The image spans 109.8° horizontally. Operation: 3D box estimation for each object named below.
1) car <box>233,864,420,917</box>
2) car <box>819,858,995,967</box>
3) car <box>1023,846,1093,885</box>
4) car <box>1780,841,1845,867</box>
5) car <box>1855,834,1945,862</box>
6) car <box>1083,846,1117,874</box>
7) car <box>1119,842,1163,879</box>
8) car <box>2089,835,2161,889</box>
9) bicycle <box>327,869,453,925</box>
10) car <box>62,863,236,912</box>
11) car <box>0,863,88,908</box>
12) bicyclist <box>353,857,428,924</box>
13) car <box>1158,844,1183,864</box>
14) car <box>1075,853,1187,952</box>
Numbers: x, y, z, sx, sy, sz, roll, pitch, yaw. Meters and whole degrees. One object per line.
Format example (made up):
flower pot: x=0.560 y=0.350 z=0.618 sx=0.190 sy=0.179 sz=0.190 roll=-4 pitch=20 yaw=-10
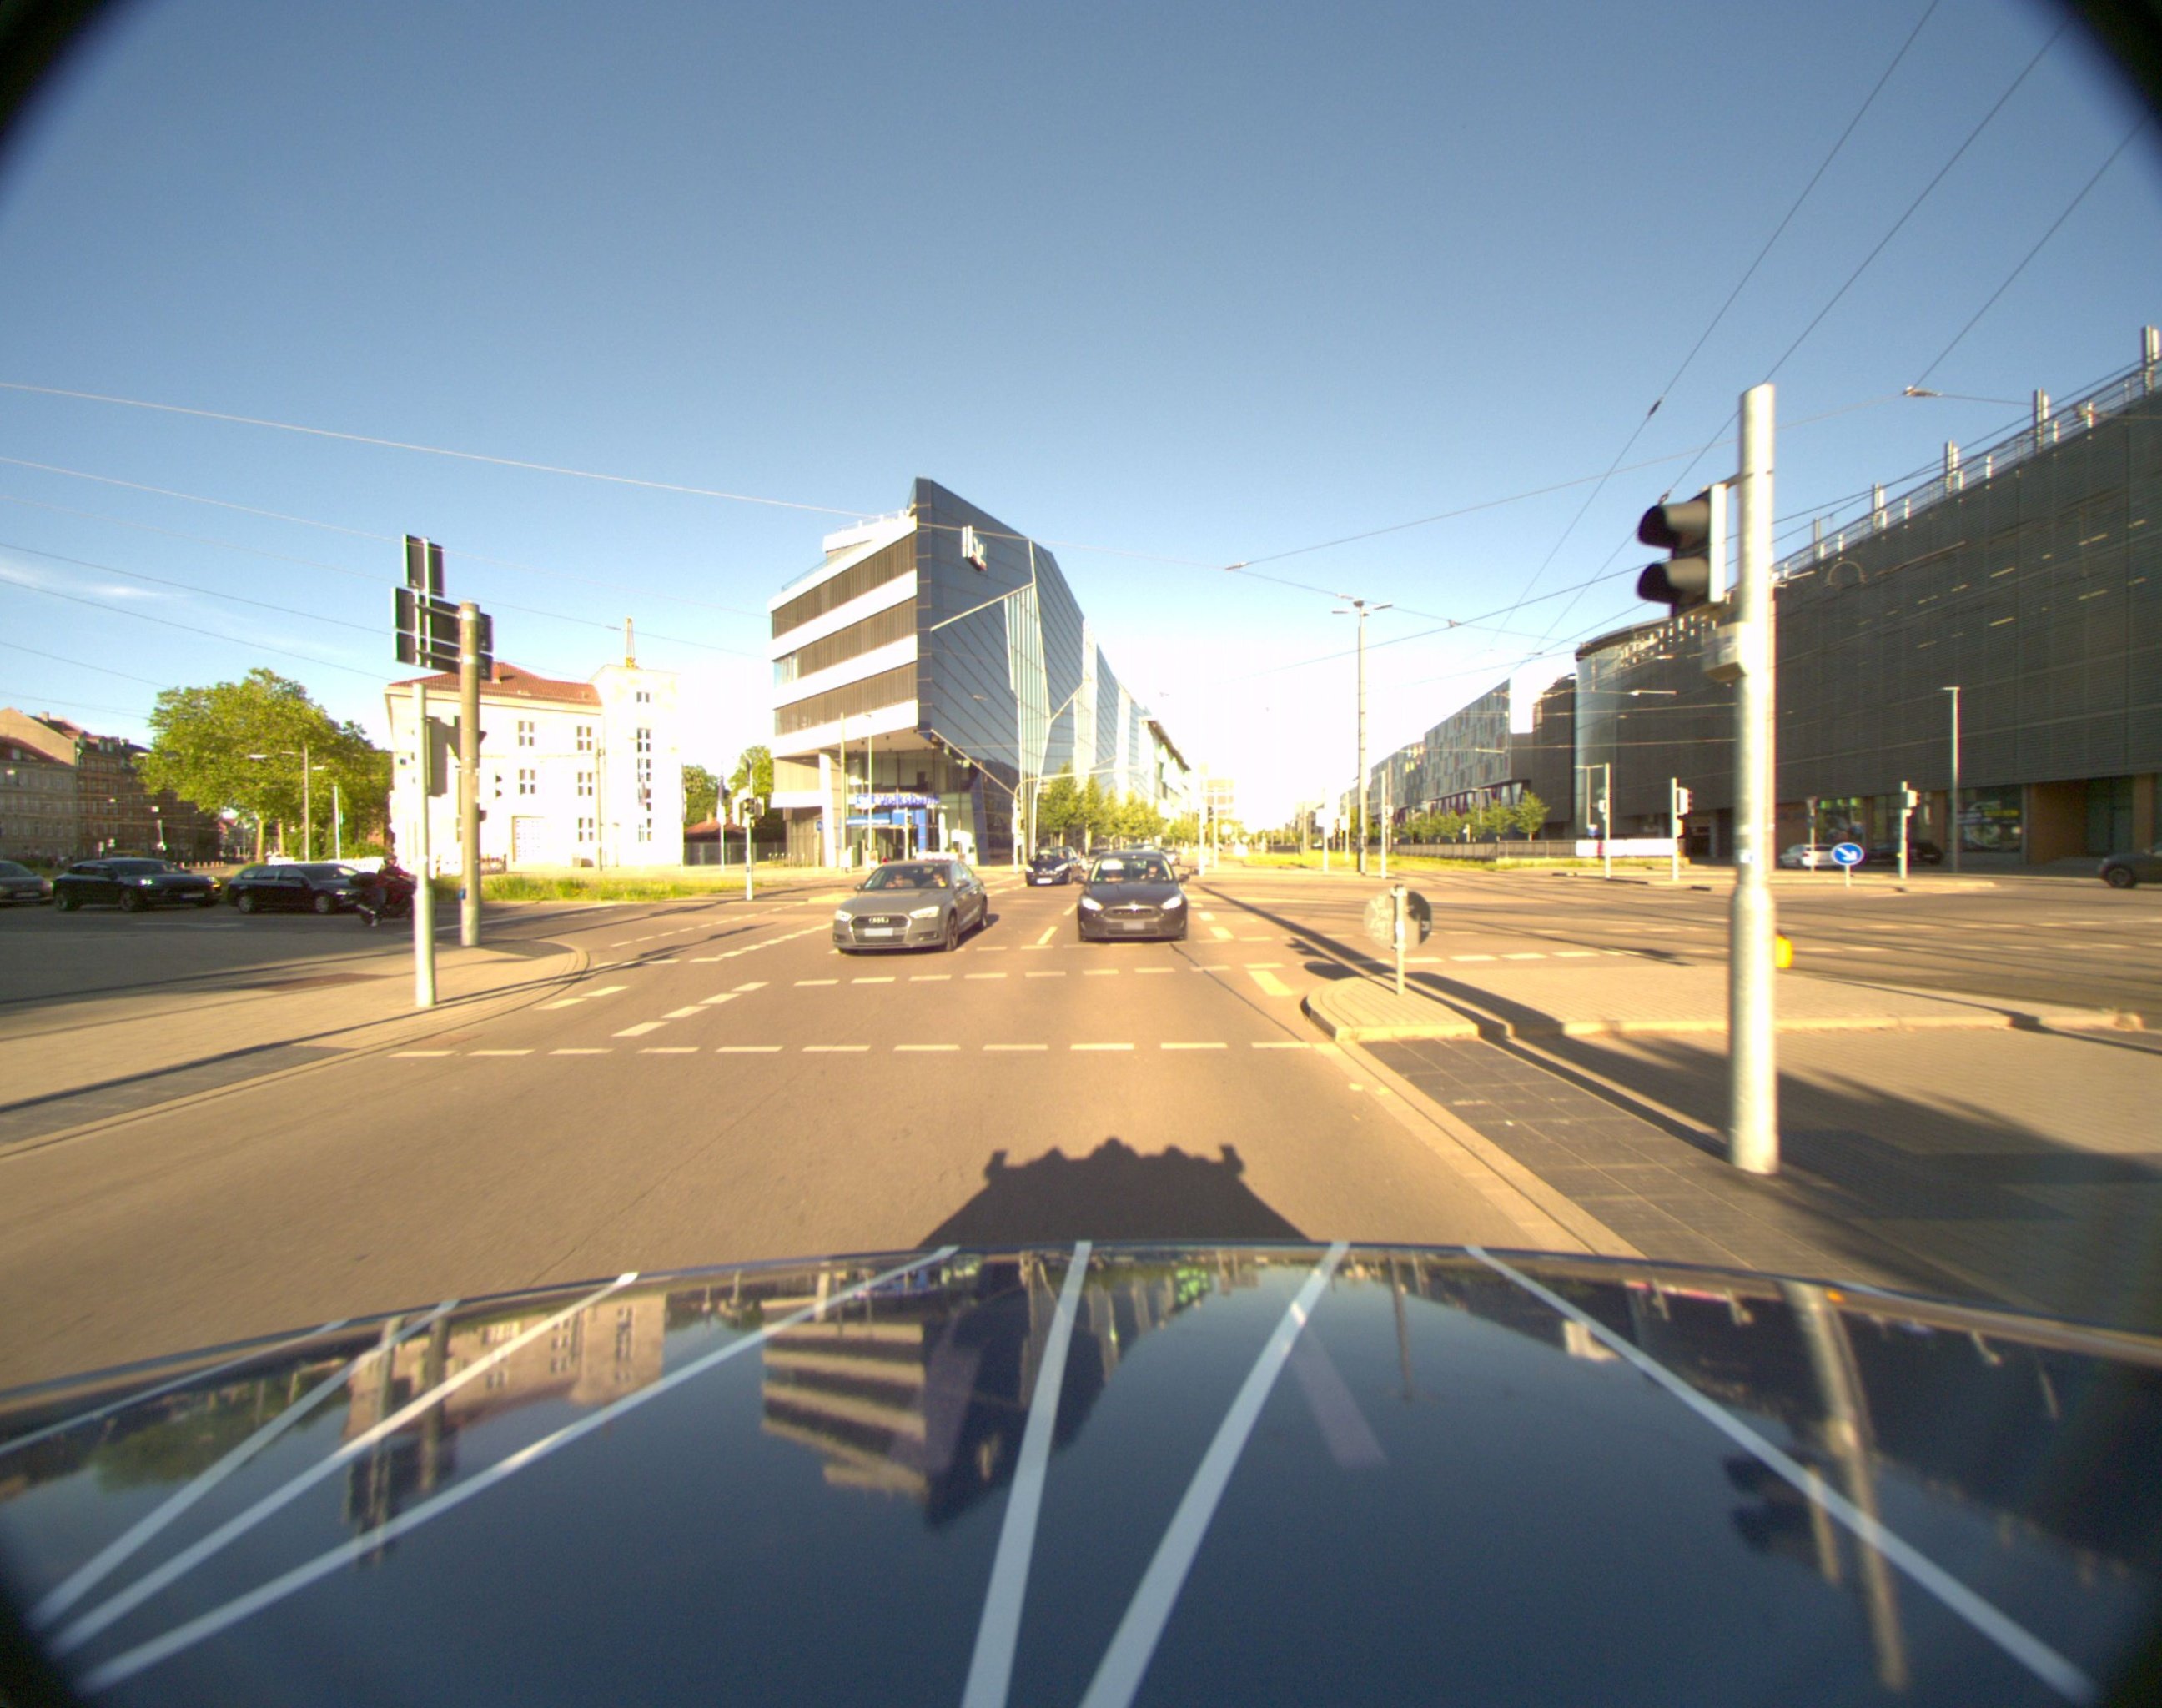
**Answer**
car: x=-22.432 y=1.032 z=22.646 sx=4.286 sy=1.414 sz=2.002 roll=0 pitch=1 yaw=15
car: x=-2.706 y=0.849 z=12.845 sx=1.714 sy=1.433 sz=4.112 roll=-1 pitch=1 yaw=4
car: x=-0.846 y=0.427 z=30.673 sx=1.734 sy=1.437 sz=4.004 roll=0 pitch=1 yaw=15
car: x=41.235 y=-0.009 z=42.907 sx=1.688 sy=1.364 sz=3.597 roll=0 pitch=1 yaw=27
car: x=48.348 y=-0.380 z=44.967 sx=1.583 sy=1.521 sz=3.752 roll=-2 pitch=1 yaw=7
car: x=1.088 y=0.281 z=41.800 sx=1.438 sy=1.437 sz=4.002 roll=0 pitch=1 yaw=8
car: x=2.593 y=0.233 z=32.889 sx=1.748 sy=1.496 sz=3.881 roll=-1 pitch=1 yaw=5
car: x=32.212 y=0.247 z=21.612 sx=1.809 sy=1.566 sz=4.297 roll=0 pitch=1 yaw=11
bicycle: x=-16.894 y=1.038 z=18.615 sx=2.369 sy=1.305 sz=0.952 roll=-1 pitch=1 yaw=8
car: x=-29.784 y=1.048 z=24.328 sx=3.992 sy=1.414 sz=2.002 roll=0 pitch=1 yaw=15
car: x=-37.022 y=1.057 z=26.170 sx=3.992 sy=1.414 sz=2.002 roll=0 pitch=1 yaw=15
bicyclist: x=-16.910 y=0.880 z=18.628 sx=1.006 sy=1.598 sz=0.880 roll=0 pitch=1 yaw=8
car: x=6.562 y=-0.035 z=55.587 sx=1.619 sy=1.421 sz=3.769 roll=0 pitch=1 yaw=10
car: x=0.911 y=0.740 z=13.585 sx=1.689 sy=1.425 sz=4.154 roll=-1 pitch=1 yaw=4
